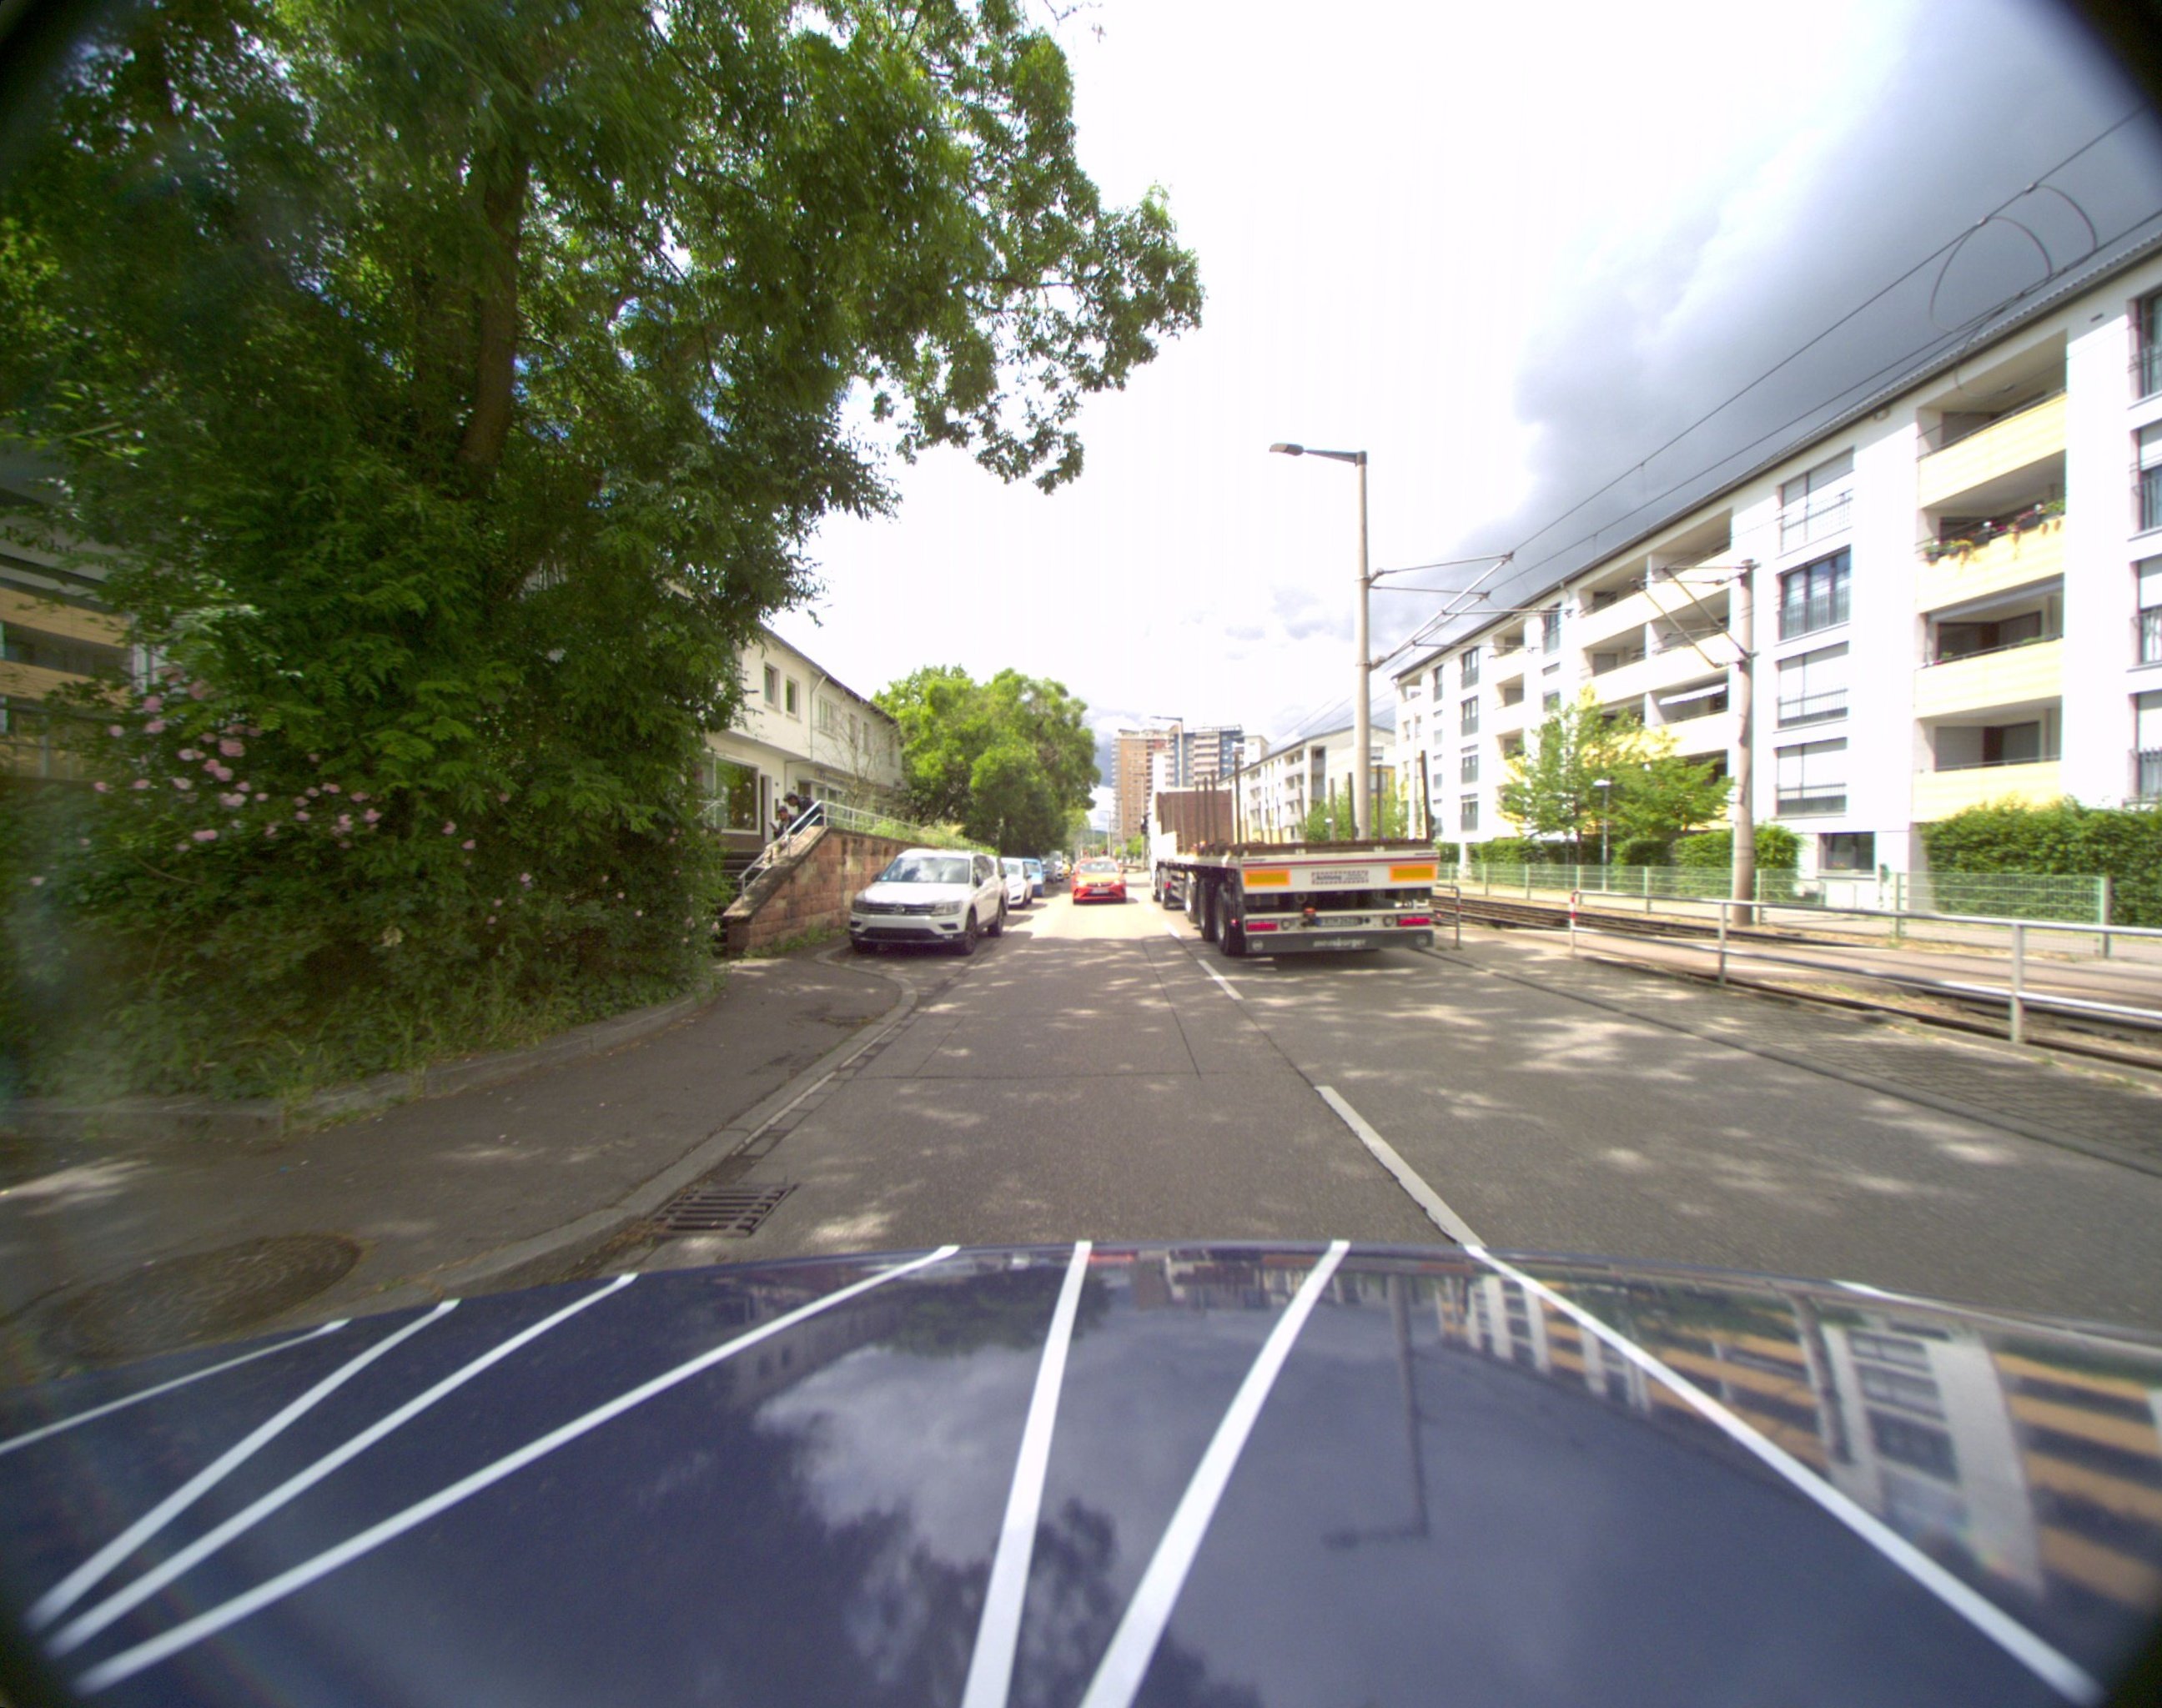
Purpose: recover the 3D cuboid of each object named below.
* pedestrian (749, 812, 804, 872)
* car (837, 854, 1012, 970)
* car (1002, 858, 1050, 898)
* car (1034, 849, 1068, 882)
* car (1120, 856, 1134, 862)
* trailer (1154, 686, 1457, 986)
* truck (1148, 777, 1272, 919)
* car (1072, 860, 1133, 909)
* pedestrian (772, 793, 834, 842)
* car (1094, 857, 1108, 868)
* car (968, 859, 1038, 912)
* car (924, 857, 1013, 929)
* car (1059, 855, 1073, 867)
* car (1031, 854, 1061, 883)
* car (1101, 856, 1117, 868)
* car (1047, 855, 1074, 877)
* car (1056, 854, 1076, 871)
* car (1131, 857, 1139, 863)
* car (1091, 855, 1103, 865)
[{"bbox_3d":[-4.978,-0.192,12.454,0.643,0.939,0.616,1,0,0],"label":"pedestrian"},{"bbox_3d":[-2.482,0.844,13.279,1.828,1.672,4.577,0,0,4],"label":"car"},{"bbox_3d":[-2.089,0.889,29.644,1.612,1.448,3.675,1,0,-1],"label":"car"},{"bbox_3d":[-1.818,0.666,47.774,1.919,1.947,5.744,0,0,-1],"label":"car"},{"bbox_3d":[14.907,1.671,244.127,4.506,1.914,1.877,-1,0,-42],"label":"car"},{"bbox_3d":[3.379,-0.173,16.074,2.704,3.559,13.677,-2,0,2],"label":"trailer"},{"bbox_3d":[3.568,-0.140,22.498,2.704,3.559,6.145,-2,0,2],"label":"truck"},{"bbox_3d":[0.609,0.907,24.408,1.792,1.387,4.241,-1,0,-1],"label":"car"},{"bbox_3d":[-4.792,-0.619,13.119,0.797,0.785,0.705,-1,0,0],"label":"pedestrian"},{"bbox_3d":[3.077,1.289,116.965,1.822,1.494,4.836,-2,0,-2],"label":"car"},{"bbox_3d":[-2.280,0.891,23.160,1.649,1.481,3.822,-1,0,1],"label":"car"},{"bbox_3d":[-2.589,0.861,18.189,1.585,1.543,3.475,-1,0,0],"label":"car"},{"bbox_3d":[-2.152,0.966,106.426,1.842,1.634,4.429,-1,0,-2],"label":"car"},{"bbox_3d":[-1.918,0.786,42.216,1.517,1.525,2.847,1,0,0],"label":"car"},{"bbox_3d":[3.935,1.126,107.306,1.822,1.604,4.601,-2,0,-1],"label":"car"},{"bbox_3d":[-1.418,0.826,53.294,1.759,1.434,4.341,1,0,0],"label":"car"},{"bbox_3d":[-1.582,0.925,81.824,2.020,1.778,5.076,0,0,1],"label":"car"},{"bbox_3d":[14.638,1.626,206.586,1.781,1.530,3.803,-1,0,-2],"label":"car"},{"bbox_3d":[2.785,1.040,132.870,1.862,1.680,4.432,0,0,-3],"label":"car"}]
